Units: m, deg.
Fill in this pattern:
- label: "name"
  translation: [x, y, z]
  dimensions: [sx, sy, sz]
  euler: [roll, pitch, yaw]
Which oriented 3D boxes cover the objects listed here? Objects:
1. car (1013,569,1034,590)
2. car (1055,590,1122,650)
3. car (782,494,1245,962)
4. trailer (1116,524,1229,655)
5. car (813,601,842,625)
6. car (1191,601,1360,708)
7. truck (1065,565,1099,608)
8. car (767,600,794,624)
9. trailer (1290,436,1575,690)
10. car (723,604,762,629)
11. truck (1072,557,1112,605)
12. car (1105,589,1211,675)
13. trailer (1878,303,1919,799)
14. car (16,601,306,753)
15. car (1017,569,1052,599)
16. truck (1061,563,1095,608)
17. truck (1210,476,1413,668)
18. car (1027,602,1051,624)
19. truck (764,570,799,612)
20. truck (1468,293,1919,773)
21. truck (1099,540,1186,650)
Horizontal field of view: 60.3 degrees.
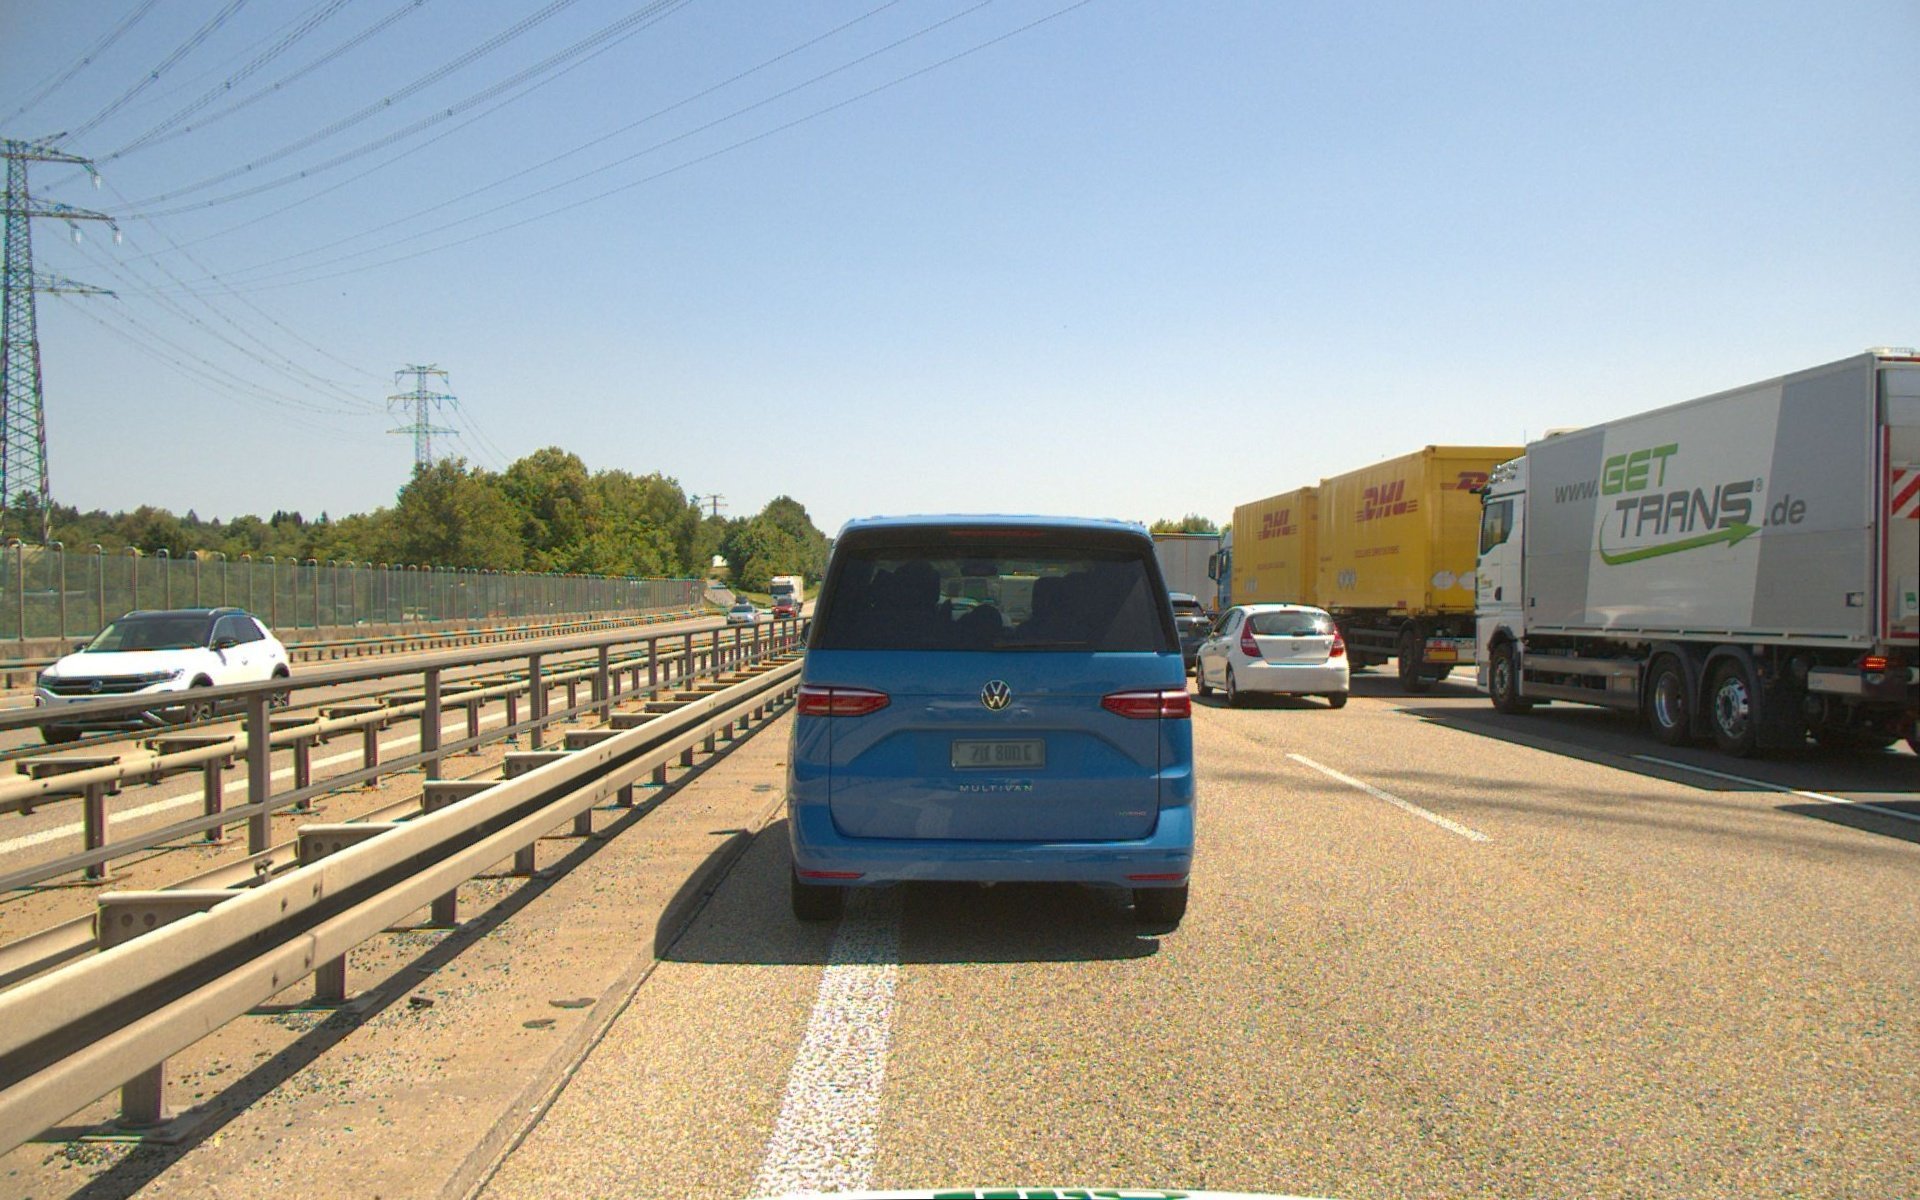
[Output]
- label: "car"
  translation: [5.852, -1.883, 153.697]
  dimensions: [1.760, 1.782, 3.942]
  euler: [1, -1, 0]
- label: "car"
  translation: [4.384, 0.678, 56.925]
  dimensions: [1.922, 1.970, 3.931]
  euler: [1, -1, -1]
- label: "car"
  translation: [0.205, 0.552, 8.856]
  dimensions: [1.891, 1.906, 3.999]
  euler: [1, -1, -1]
- label: "trailer"
  translation: [8.214, -0.311, 65.434]
  dimensions: [2.964, 4.692, 10.923]
  euler: [1, -1, 0]
- label: "car"
  translation: [-9.951, 0.970, 124.580]
  dimensions: [1.834, 1.556, 3.607]
  euler: [-5, 0, -1]
- label: "car"
  translation: [4.788, 0.796, 25.616]
  dimensions: [1.778, 1.496, 3.931]
  euler: [1, -1, -1]
- label: "truck"
  translation: [7.708, -0.834, 104.721]
  dimensions: [1.760, 2.641, 4.305]
  euler: [1, -1, 0]
- label: "car"
  translation: [-14.560, 1.003, 134.438]
  dimensions: [1.802, 1.854, 4.746]
  euler: [-1, -1, -1]
- label: "trailer"
  translation: [8.724, -0.560, 31.886]
  dimensions: [2.628, 4.159, 8.976]
  euler: [1, -1, -2]
- label: "car"
  translation: [-13.526, 1.024, 103.054]
  dimensions: [1.834, 1.467, 4.384]
  euler: [-2, 0, -1]
- label: "truck"
  translation: [7.196, -1.023, 90.699]
  dimensions: [1.761, 2.492, 4.503]
  euler: [1, -1, 0]
- label: "car"
  translation: [4.185, 0.667, 35.500]
  dimensions: [1.778, 1.708, 3.931]
  euler: [1, -1, 0]
- label: "trailer"
  translation: [9.125, -0.409, 9.668]
  dimensions: [2.840, 3.959, 8.212]
  euler: [1, -1, -1]
- label: "car"
  translation: [-9.911, 0.895, 20.882]
  dimensions: [1.770, 1.668, 3.998]
  euler: [-2, -1, -2]
- label: "car"
  translation: [4.497, -0.949, 100.109]
  dimensions: [1.880, 1.736, 3.999]
  euler: [1, -1, -1]
- label: "truck"
  translation: [7.085, -0.854, 99.383]
  dimensions: [1.706, 2.593, 4.209]
  euler: [1, -1, 0]
- label: "truck"
  translation: [8.480, -0.564, 41.279]
  dimensions: [2.645, 4.159, 9.936]
  euler: [1, -1, -2]
- label: "car"
  translation: [6.524, 1.075, 137.627]
  dimensions: [1.760, 1.782, 3.942]
  euler: [1, -1, 0]
- label: "truck"
  translation: [-19.410, -0.927, 179.945]
  dimensions: [2.869, 4.368, 6.857]
  euler: [-3, -1, 0]
- label: "truck"
  translation: [8.998, -0.487, 19.137]
  dimensions: [2.794, 4.003, 10.607]
  euler: [1, -1, -1]
- label: "truck"
  translation: [8.163, -0.178, 74.872]
  dimensions: [2.964, 4.692, 7.920]
  euler: [1, -1, 0]
